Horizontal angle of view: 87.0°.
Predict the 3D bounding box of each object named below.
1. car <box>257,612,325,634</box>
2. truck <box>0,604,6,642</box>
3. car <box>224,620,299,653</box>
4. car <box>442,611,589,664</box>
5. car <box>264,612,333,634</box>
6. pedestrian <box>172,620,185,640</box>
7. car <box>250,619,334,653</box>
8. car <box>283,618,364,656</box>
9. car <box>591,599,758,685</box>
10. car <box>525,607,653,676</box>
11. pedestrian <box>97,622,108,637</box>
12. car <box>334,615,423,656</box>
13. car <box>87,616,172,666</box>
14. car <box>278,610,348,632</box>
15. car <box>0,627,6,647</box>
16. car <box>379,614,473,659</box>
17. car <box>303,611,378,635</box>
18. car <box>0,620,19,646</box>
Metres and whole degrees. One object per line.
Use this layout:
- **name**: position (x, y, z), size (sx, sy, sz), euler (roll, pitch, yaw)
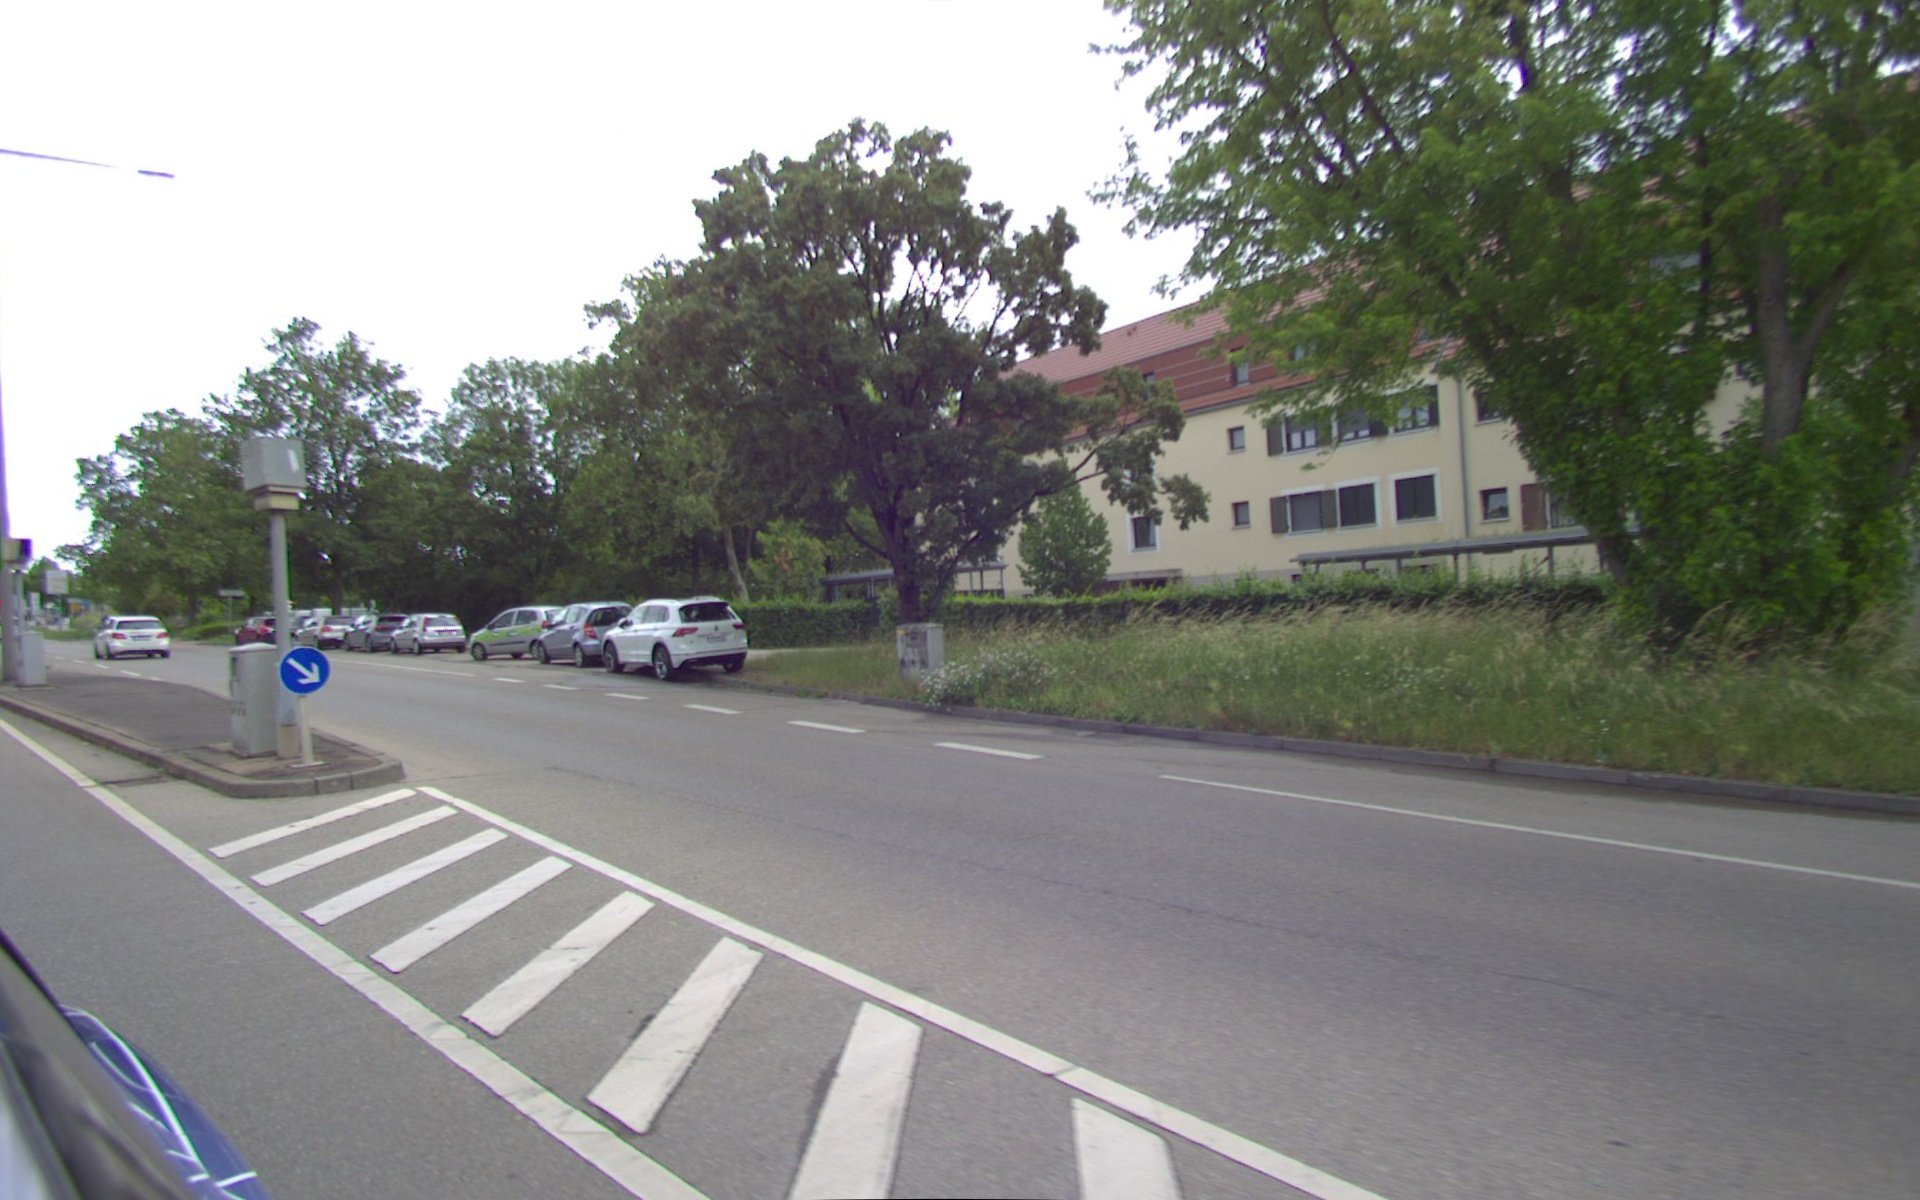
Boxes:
- **car**: position (-64.249, 2.238, 97.256), size (1.738, 2.029, 5.230), euler (-1, -2, 40)
- **truck**: position (-91.684, 2.217, 95.129), size (2.792, 3.507, 7.828), euler (0, -1, -45)
- **car**: position (-35.115, 1.809, 50.874), size (3.879, 1.518, 1.859), euler (-2, 0, 35)
- **car**: position (-13.502, 1.137, 30.761), size (3.974, 1.518, 1.867), euler (-1, -1, 23)
- **car**: position (-62.657, 2.158, 95.949), size (1.738, 2.029, 5.230), euler (-1, -2, 40)
- **pedestrian**: position (-68.573, 2.632, 88.785), size (0.637, 1.750, 0.749), euler (-1, 1, 33)
- **car**: position (-31.831, 1.692, 48.185), size (3.987, 1.518, 1.861), euler (-1, 0, 33)
- **car**: position (-27.830, 1.573, 44.224), size (4.054, 1.518, 1.856), euler (-1, 0, 41)
- **car**: position (-6.409, 0.849, 22.416), size (1.852, 1.679, 4.397), euler (-2, 1, -41)
- **car**: position (-9.825, 1.021, 26.645), size (1.852, 1.608, 4.006), euler (-2, 1, -41)
- **pedestrian**: position (-82.957, 2.864, 97.906), size (0.639, 1.458, 0.747), euler (-1, 1, 41)
- **car**: position (-23.385, 1.416, 40.621), size (3.997, 1.518, 1.856), euler (-2, 0, 41)
- **car**: position (-30.387, 1.443, 36.988), size (4.339, 1.582, 1.855), euler (0, 1, 43)
- **car**: position (-60.037, 1.935, 93.991), size (1.739, 2.029, 5.228), euler (-1, -2, 41)
- **car**: position (-73.998, 2.830, 77.001), size (4.122, 1.497, 1.710), euler (-2, -2, 42)
- **car**: position (-19.688, 1.318, 37.279), size (4.000, 1.518, 1.855), euler (-2, -1, 43)
- **car**: position (-54.119, 2.025, 88.488), size (2.010, 2.029, 5.230), euler (-1, -2, 40)
- **car**: position (-69.883, 2.416, 73.487), size (4.404, 1.783, 1.809), euler (-2, 0, 41)
